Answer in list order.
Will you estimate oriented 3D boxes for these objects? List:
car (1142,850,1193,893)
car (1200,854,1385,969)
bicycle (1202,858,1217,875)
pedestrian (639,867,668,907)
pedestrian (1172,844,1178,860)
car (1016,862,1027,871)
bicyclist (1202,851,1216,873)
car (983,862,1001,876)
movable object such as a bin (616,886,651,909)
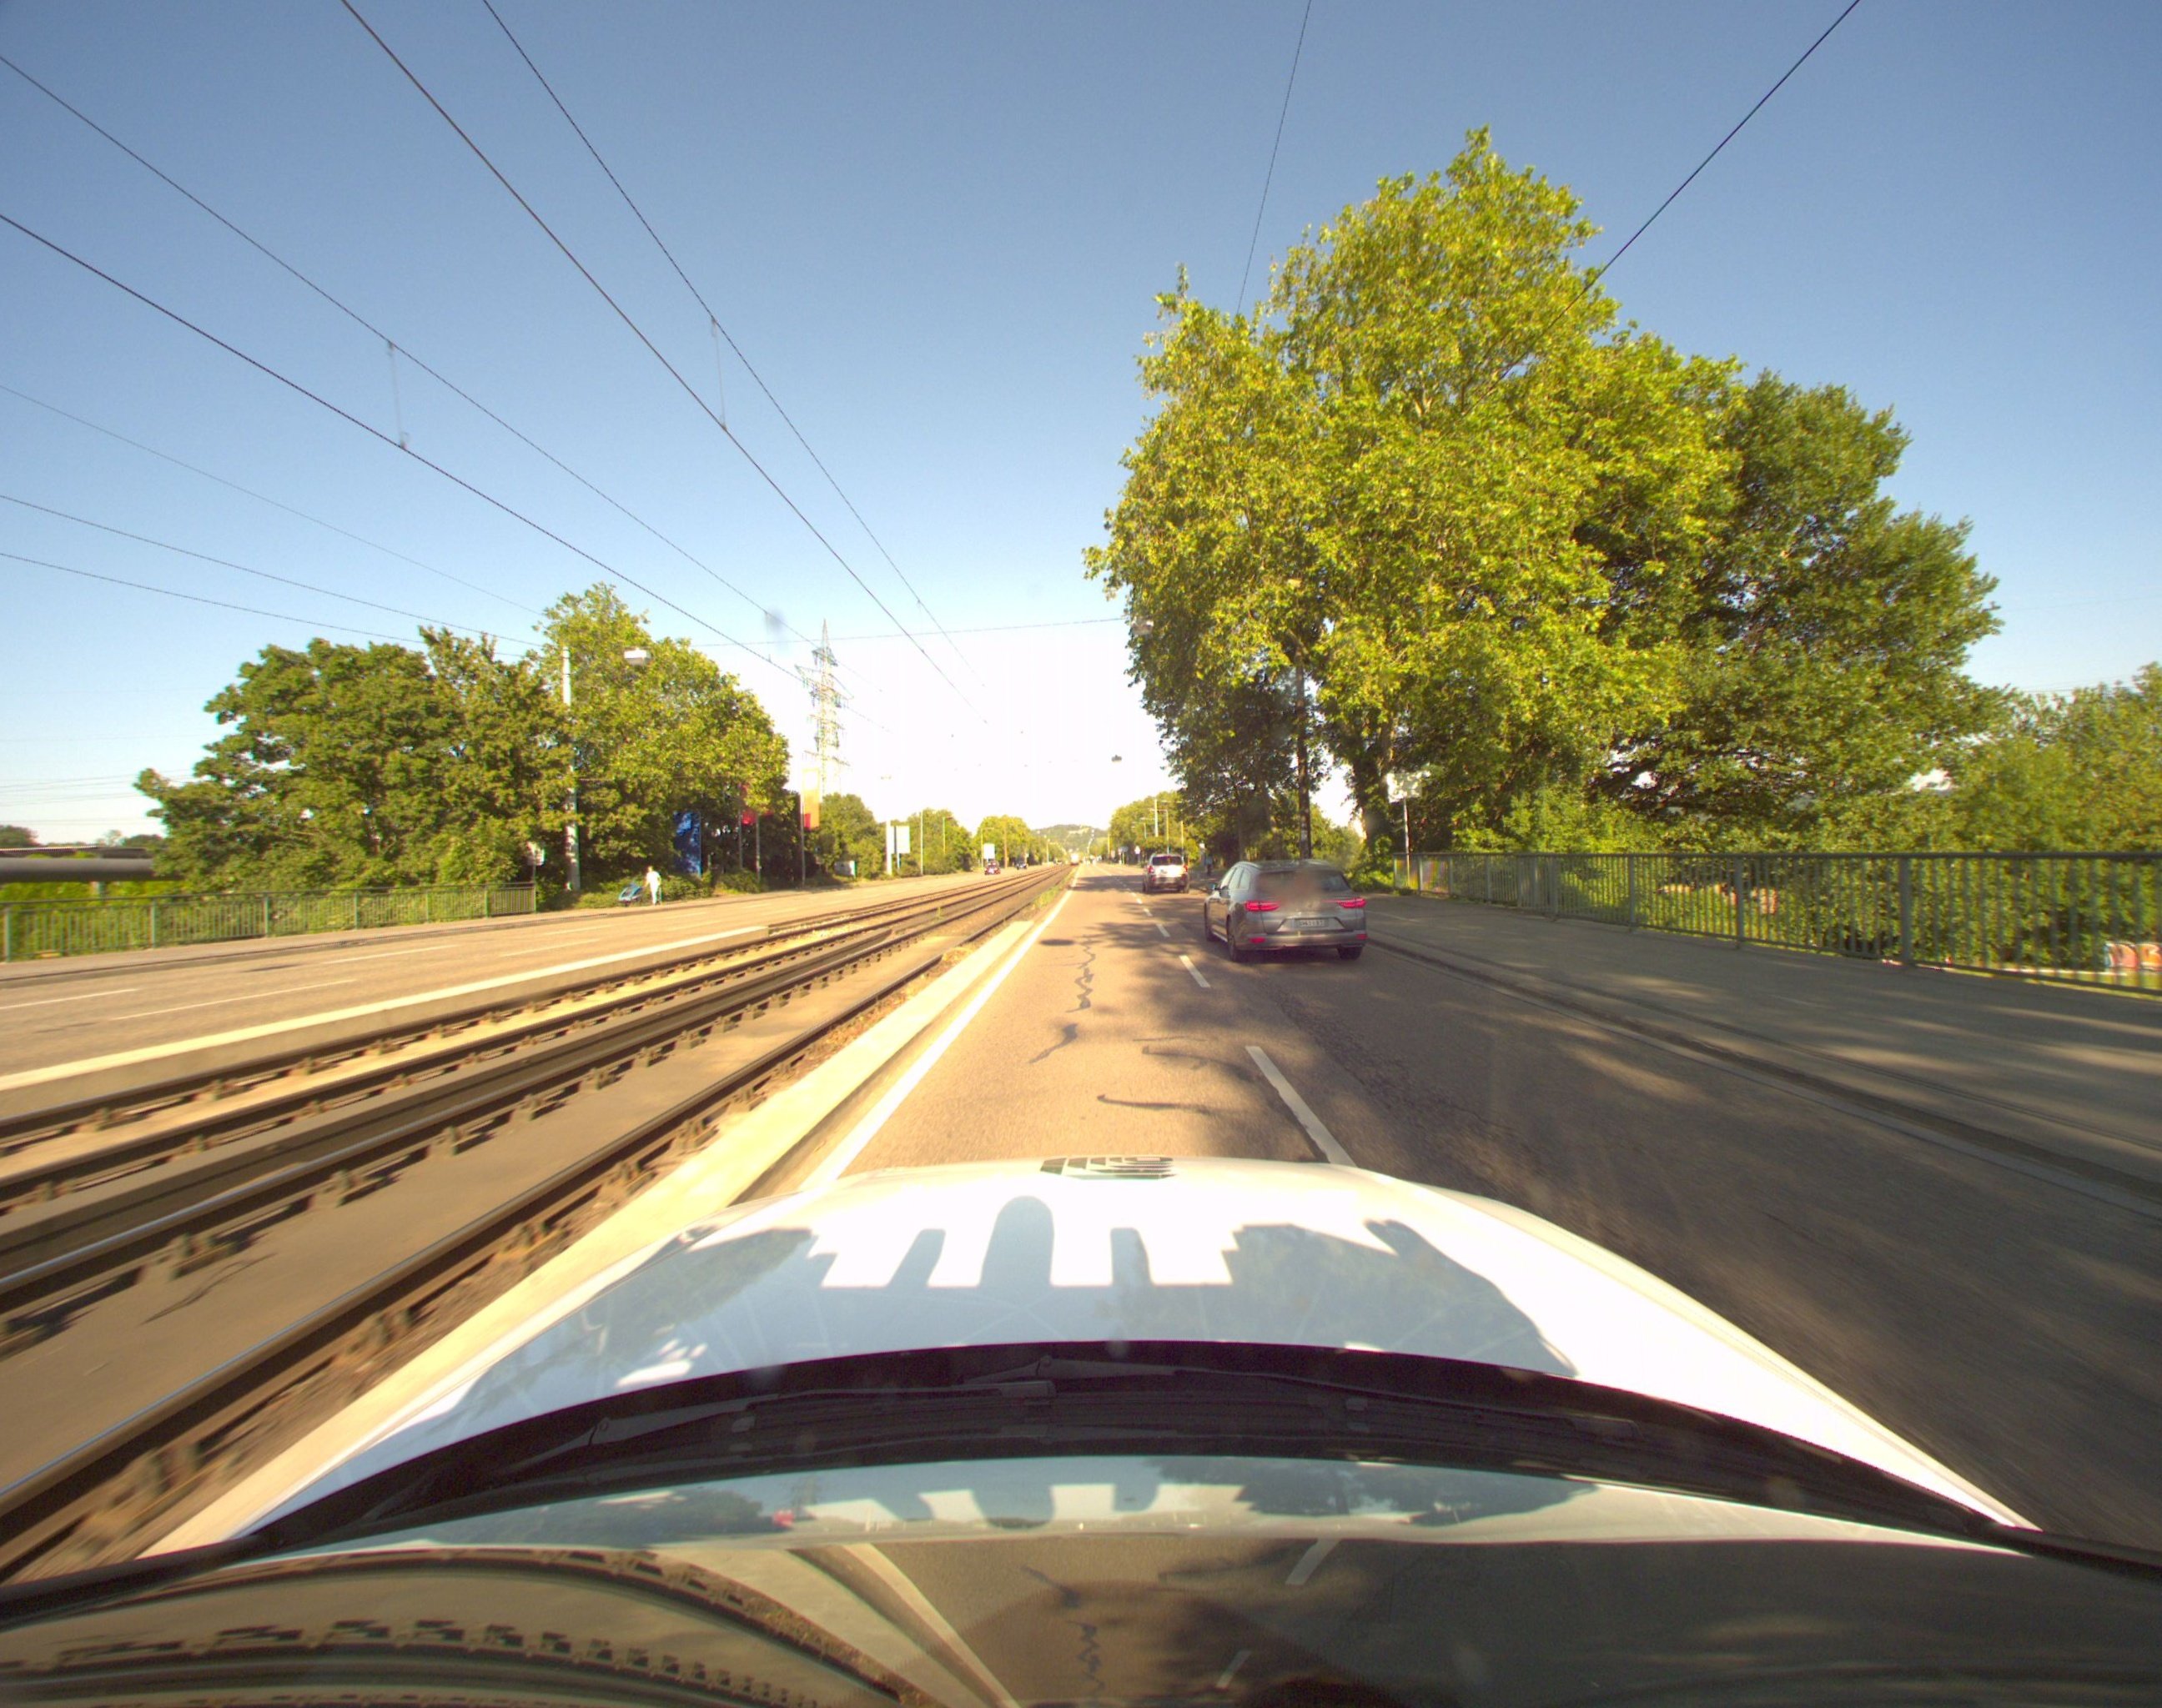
[{"bbox_3d":[3.726,0.716,35.804,1.877,1.795,4.000,0,0,1],"label":"car"},{"bbox_3d":[3.116,0.768,13.034,1.859,1.467,4.668,-1,0,2],"label":"car"},{"bbox_3d":[8.952,0.878,56.879,0.791,1.094,1.896,-4,0,4],"label":"bicycle"},{"bbox_3d":[-19.024,1.470,36.269,0.718,1.756,0.840,0,-1,23],"label":"pedestrian"},{"bbox_3d":[10.920,-0.198,94.650,0.624,1.871,0.624,0,0,0],"label":"pedestrian"},{"bbox_3d":[-12.006,2.553,164.913,1.900,1.644,3.998,0,0,-1],"label":"car"},{"bbox_3d":[8.919,0.532,56.784,0.791,1.460,1.113,-4,0,4],"label":"bicyclist"},{"bbox_3d":[-11.936,1.961,109.850,1.856,1.720,4.001,-1,0,1],"label":"car"},{"bbox_3d":[-19.408,1.869,35.353,0.718,0.961,1.107,0,-1,23],"label":"movable object such as a bin"}]
